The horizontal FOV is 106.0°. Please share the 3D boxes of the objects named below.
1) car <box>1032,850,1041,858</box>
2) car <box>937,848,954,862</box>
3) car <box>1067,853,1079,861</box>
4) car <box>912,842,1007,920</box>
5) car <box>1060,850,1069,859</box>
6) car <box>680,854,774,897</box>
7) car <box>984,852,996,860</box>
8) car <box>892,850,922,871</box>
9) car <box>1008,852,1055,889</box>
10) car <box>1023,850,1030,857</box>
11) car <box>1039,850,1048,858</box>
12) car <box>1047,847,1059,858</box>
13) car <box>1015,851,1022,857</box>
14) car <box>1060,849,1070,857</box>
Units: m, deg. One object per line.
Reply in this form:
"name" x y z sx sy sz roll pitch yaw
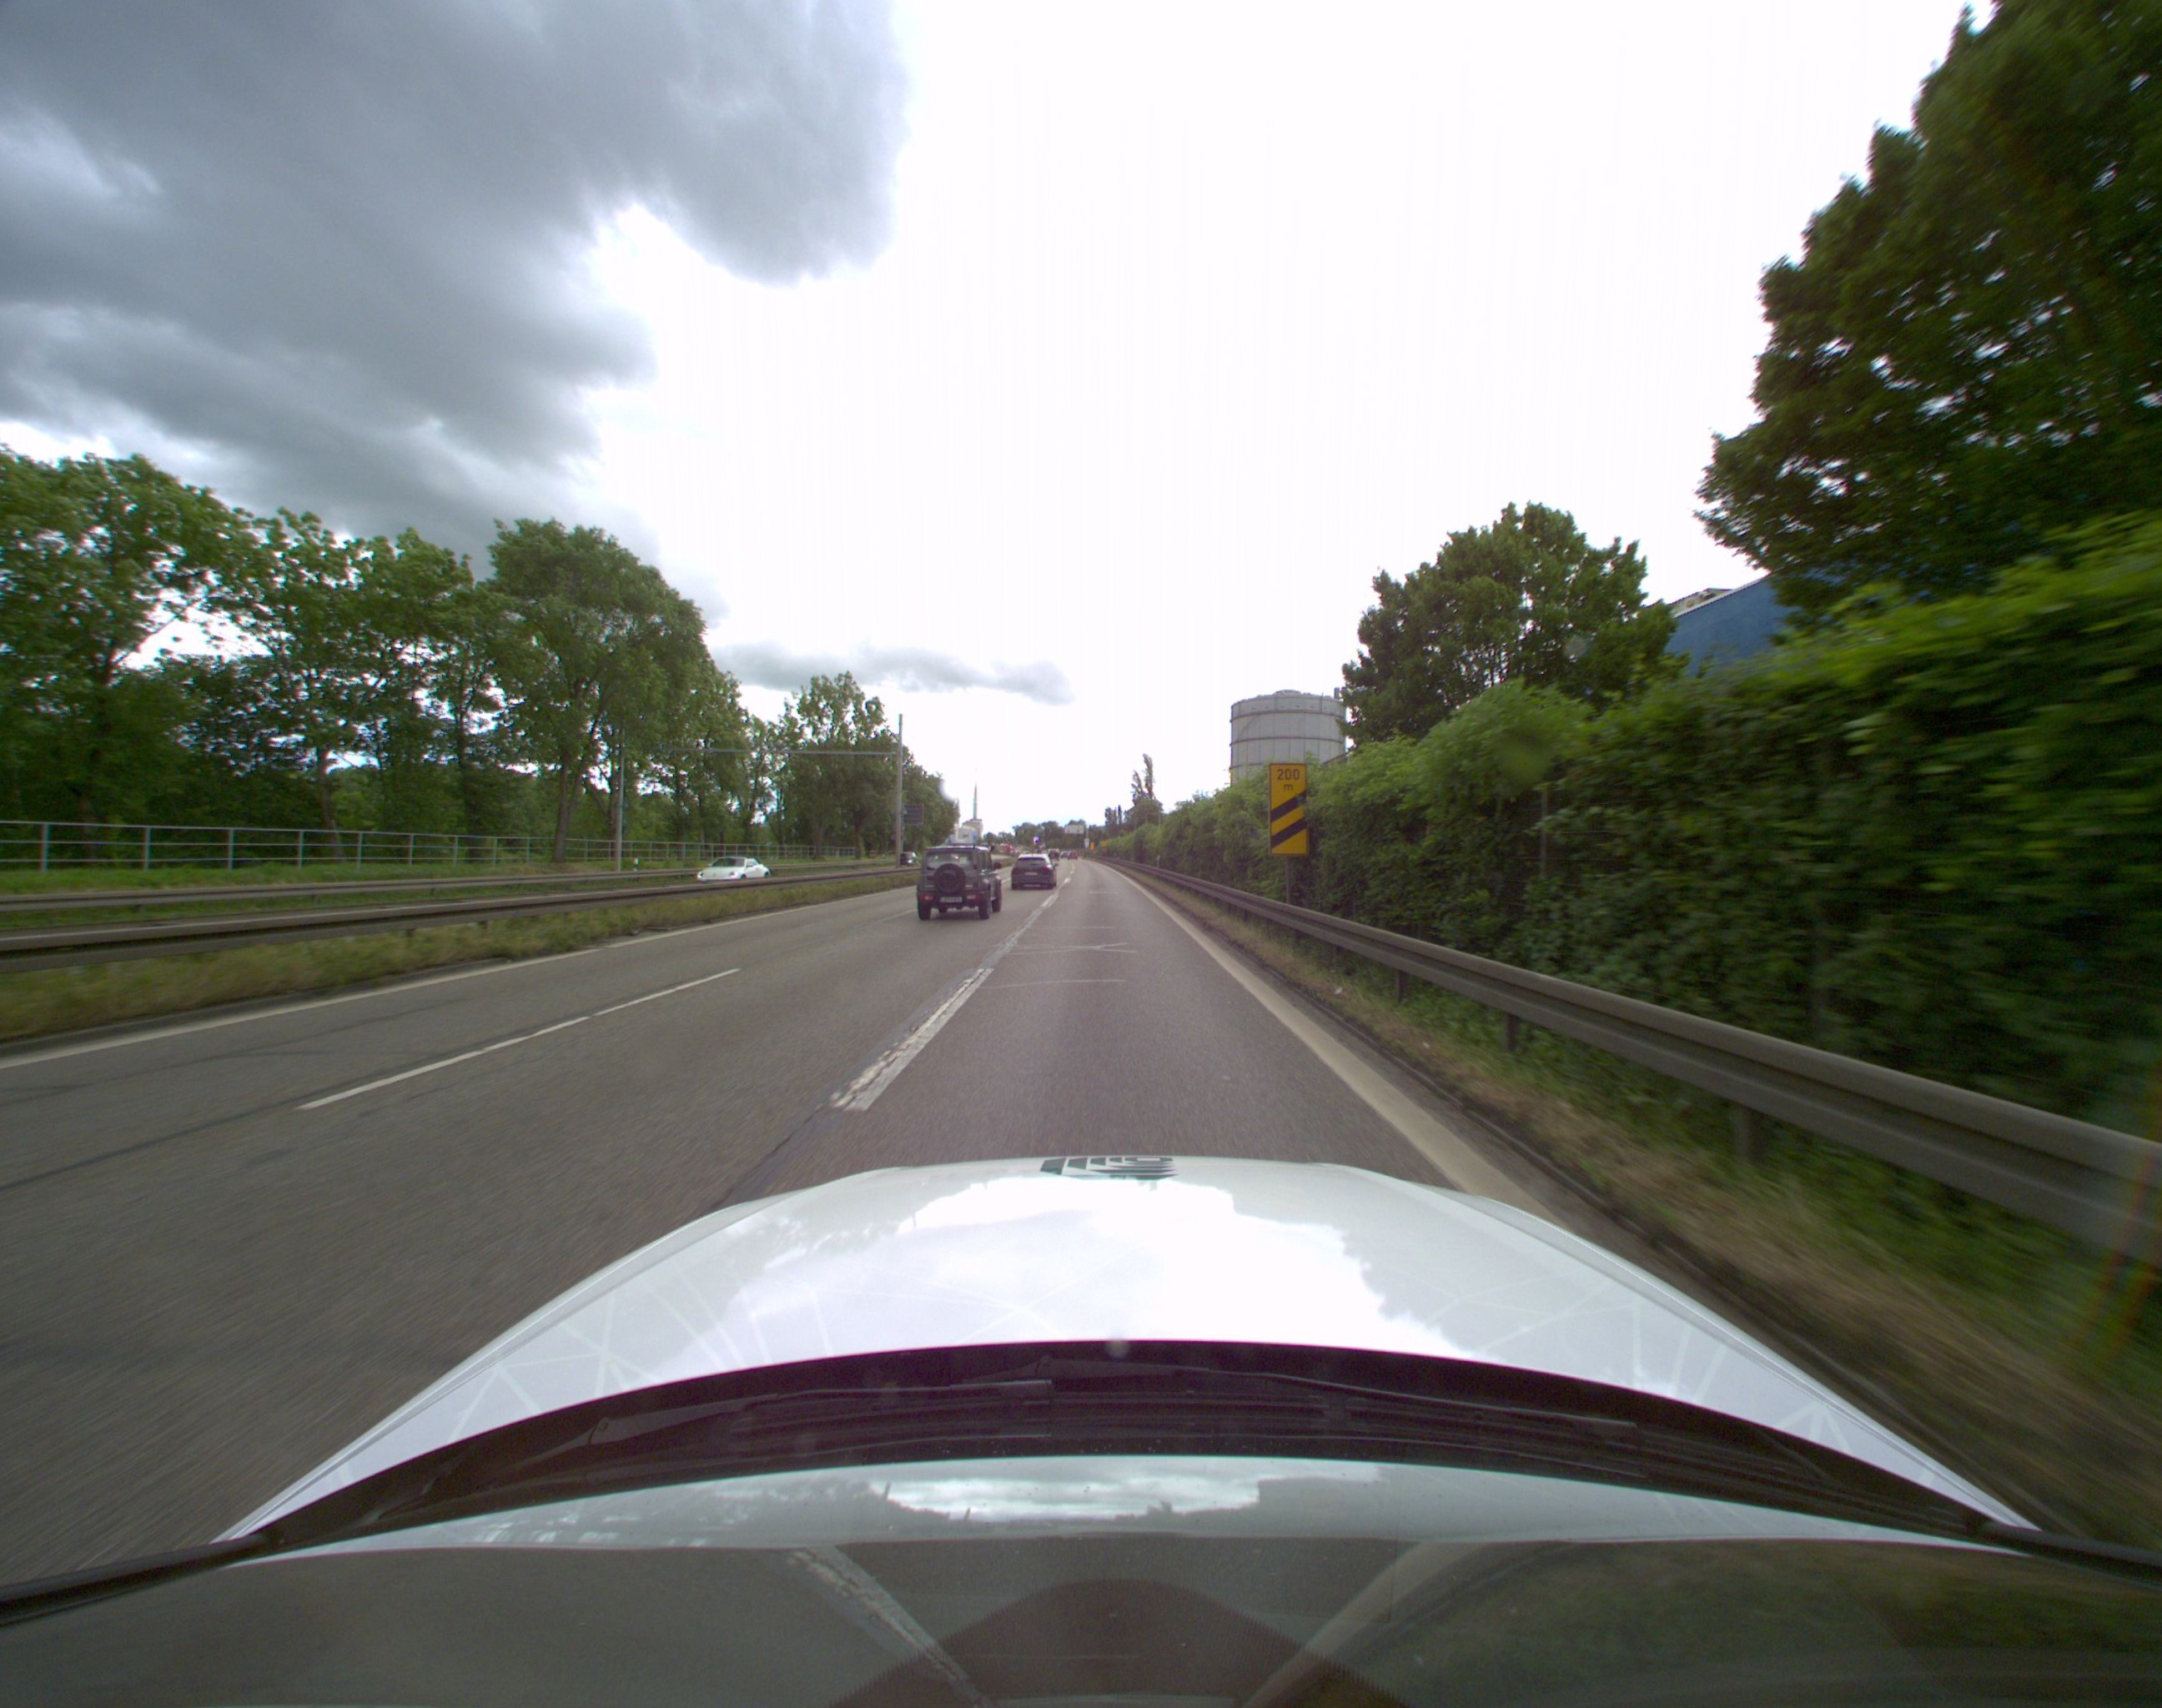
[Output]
"car" -12.016 0.012 220.743 2.011 1.934 4.888 0 0 -7
"car" -18.716 0.101 112.876 1.605 1.883 4.560 0 0 0
"car" -1.438 0.587 145.403 1.970 1.423 4.895 0 0 -3
"car" -2.879 0.595 20.060 1.692 1.686 4.000 -1 0 0
"car" -3.422 0.144 170.499 1.694 1.742 4.386 0 0 -4
"car" -14.975 0.856 34.725 1.860 1.674 4.719 0 0 1
"car" -15.626 0.330 140.390 1.655 1.424 3.910 0 0 0
"car" -15.213 0.580 71.526 1.720 1.775 3.743 0 0 2
"car" -2.138 0.659 34.988 1.841 1.423 4.893 1 0 -4
"car" -14.466 -0.160 216.174 1.695 1.742 4.385 0 0 -5
"car" -9.297 0.067 201.851 2.010 1.934 4.892 0 0 -5
"car" -4.415 -0.202 130.985 1.691 1.742 4.001 0 0 1
"car" -19.656 -0.103 257.467 2.011 1.934 4.889 0 0 -7
"car" -3.381 -0.157 171.303 1.694 1.742 4.387 0 0 -4
